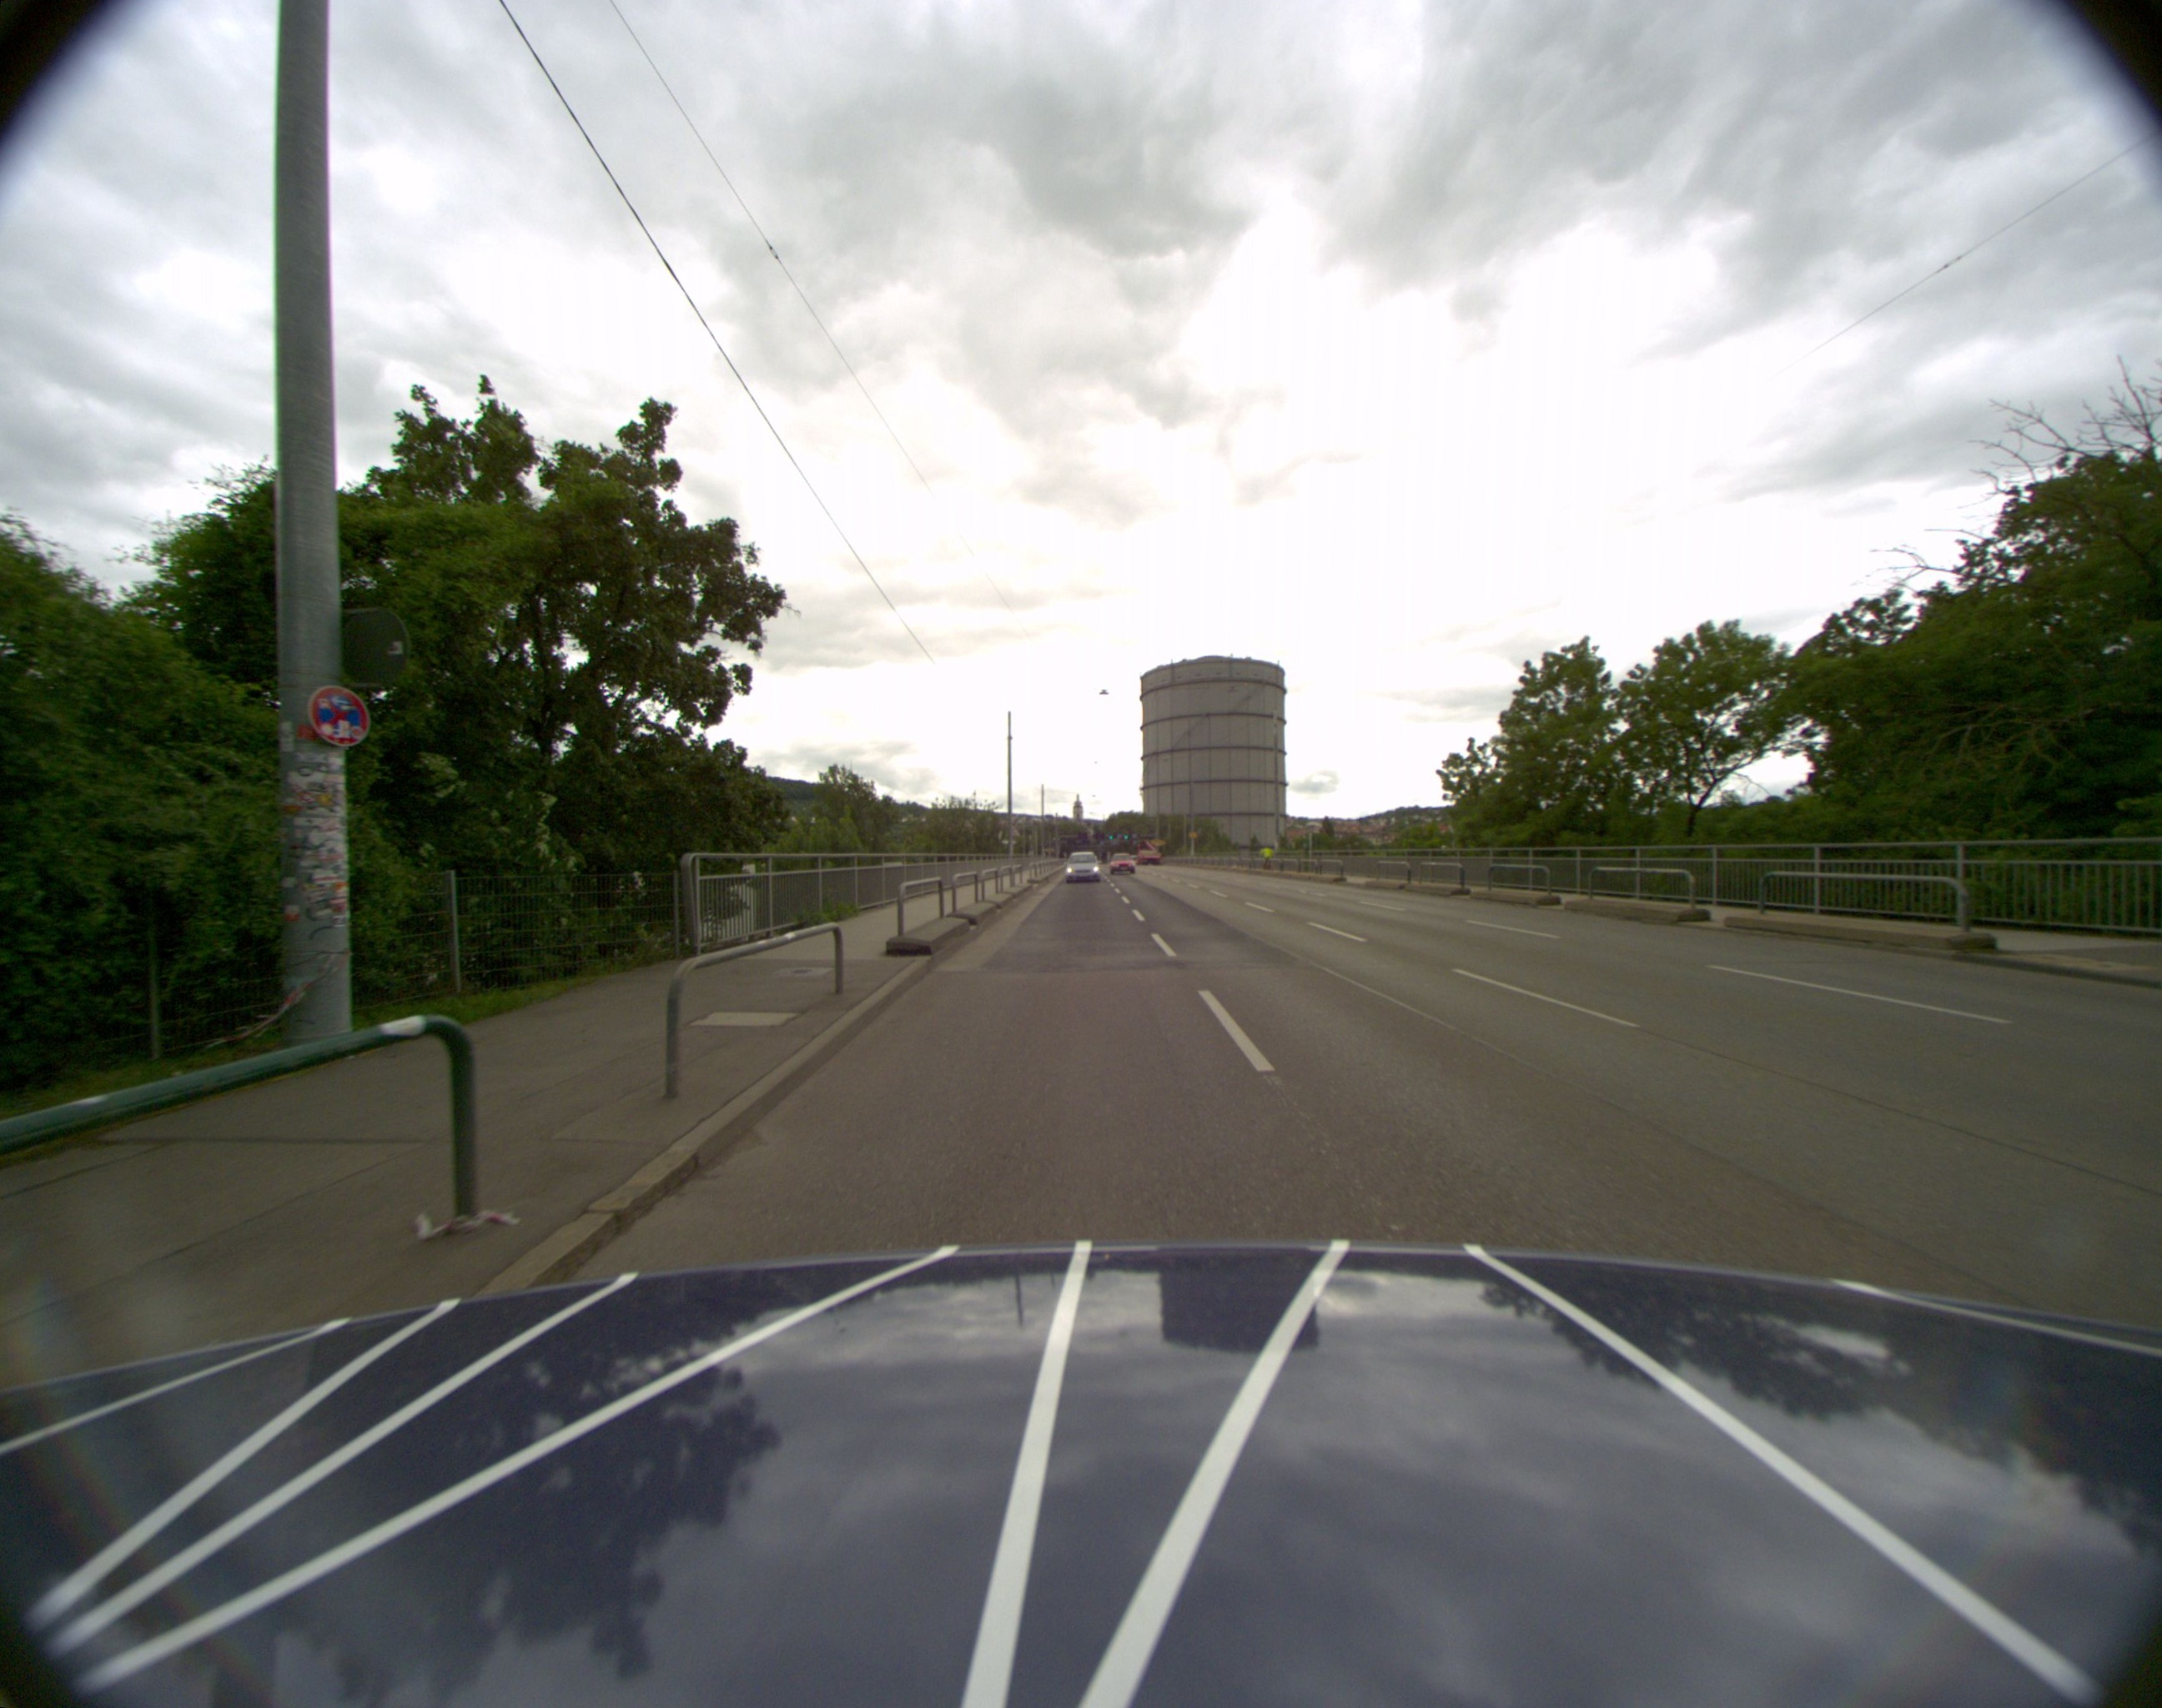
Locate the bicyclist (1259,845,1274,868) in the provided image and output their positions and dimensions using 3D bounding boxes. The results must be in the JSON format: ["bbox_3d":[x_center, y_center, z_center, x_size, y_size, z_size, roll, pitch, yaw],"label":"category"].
[{"bbox_3d":[12.554,0.163,51.405,0.627,1.467,0.670,-9,1,3],"label":"bicyclist"}]

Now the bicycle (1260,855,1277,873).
[{"bbox_3d":[12.649,0.664,51.372,0.636,1.058,1.982,-9,0,3],"label":"bicycle"}]

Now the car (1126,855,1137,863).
[{"bbox_3d":[9.287,0.862,138.998,1.696,1.434,3.798,0,1,-1],"label":"car"}]

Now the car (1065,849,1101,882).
[{"bbox_3d":[0.126,0.574,40.549,1.771,1.565,3.999,-1,2,1],"label":"car"}]

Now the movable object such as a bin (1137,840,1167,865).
[{"bbox_3d":[10.030,-0.244,107.987,3.464,3.304,9.357,0,1,1],"label":"movable object such as a bin"}]

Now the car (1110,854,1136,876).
[{"bbox_3d":[2.951,0.784,54.146,1.696,1.434,3.999,0,1,0],"label":"car"}]
